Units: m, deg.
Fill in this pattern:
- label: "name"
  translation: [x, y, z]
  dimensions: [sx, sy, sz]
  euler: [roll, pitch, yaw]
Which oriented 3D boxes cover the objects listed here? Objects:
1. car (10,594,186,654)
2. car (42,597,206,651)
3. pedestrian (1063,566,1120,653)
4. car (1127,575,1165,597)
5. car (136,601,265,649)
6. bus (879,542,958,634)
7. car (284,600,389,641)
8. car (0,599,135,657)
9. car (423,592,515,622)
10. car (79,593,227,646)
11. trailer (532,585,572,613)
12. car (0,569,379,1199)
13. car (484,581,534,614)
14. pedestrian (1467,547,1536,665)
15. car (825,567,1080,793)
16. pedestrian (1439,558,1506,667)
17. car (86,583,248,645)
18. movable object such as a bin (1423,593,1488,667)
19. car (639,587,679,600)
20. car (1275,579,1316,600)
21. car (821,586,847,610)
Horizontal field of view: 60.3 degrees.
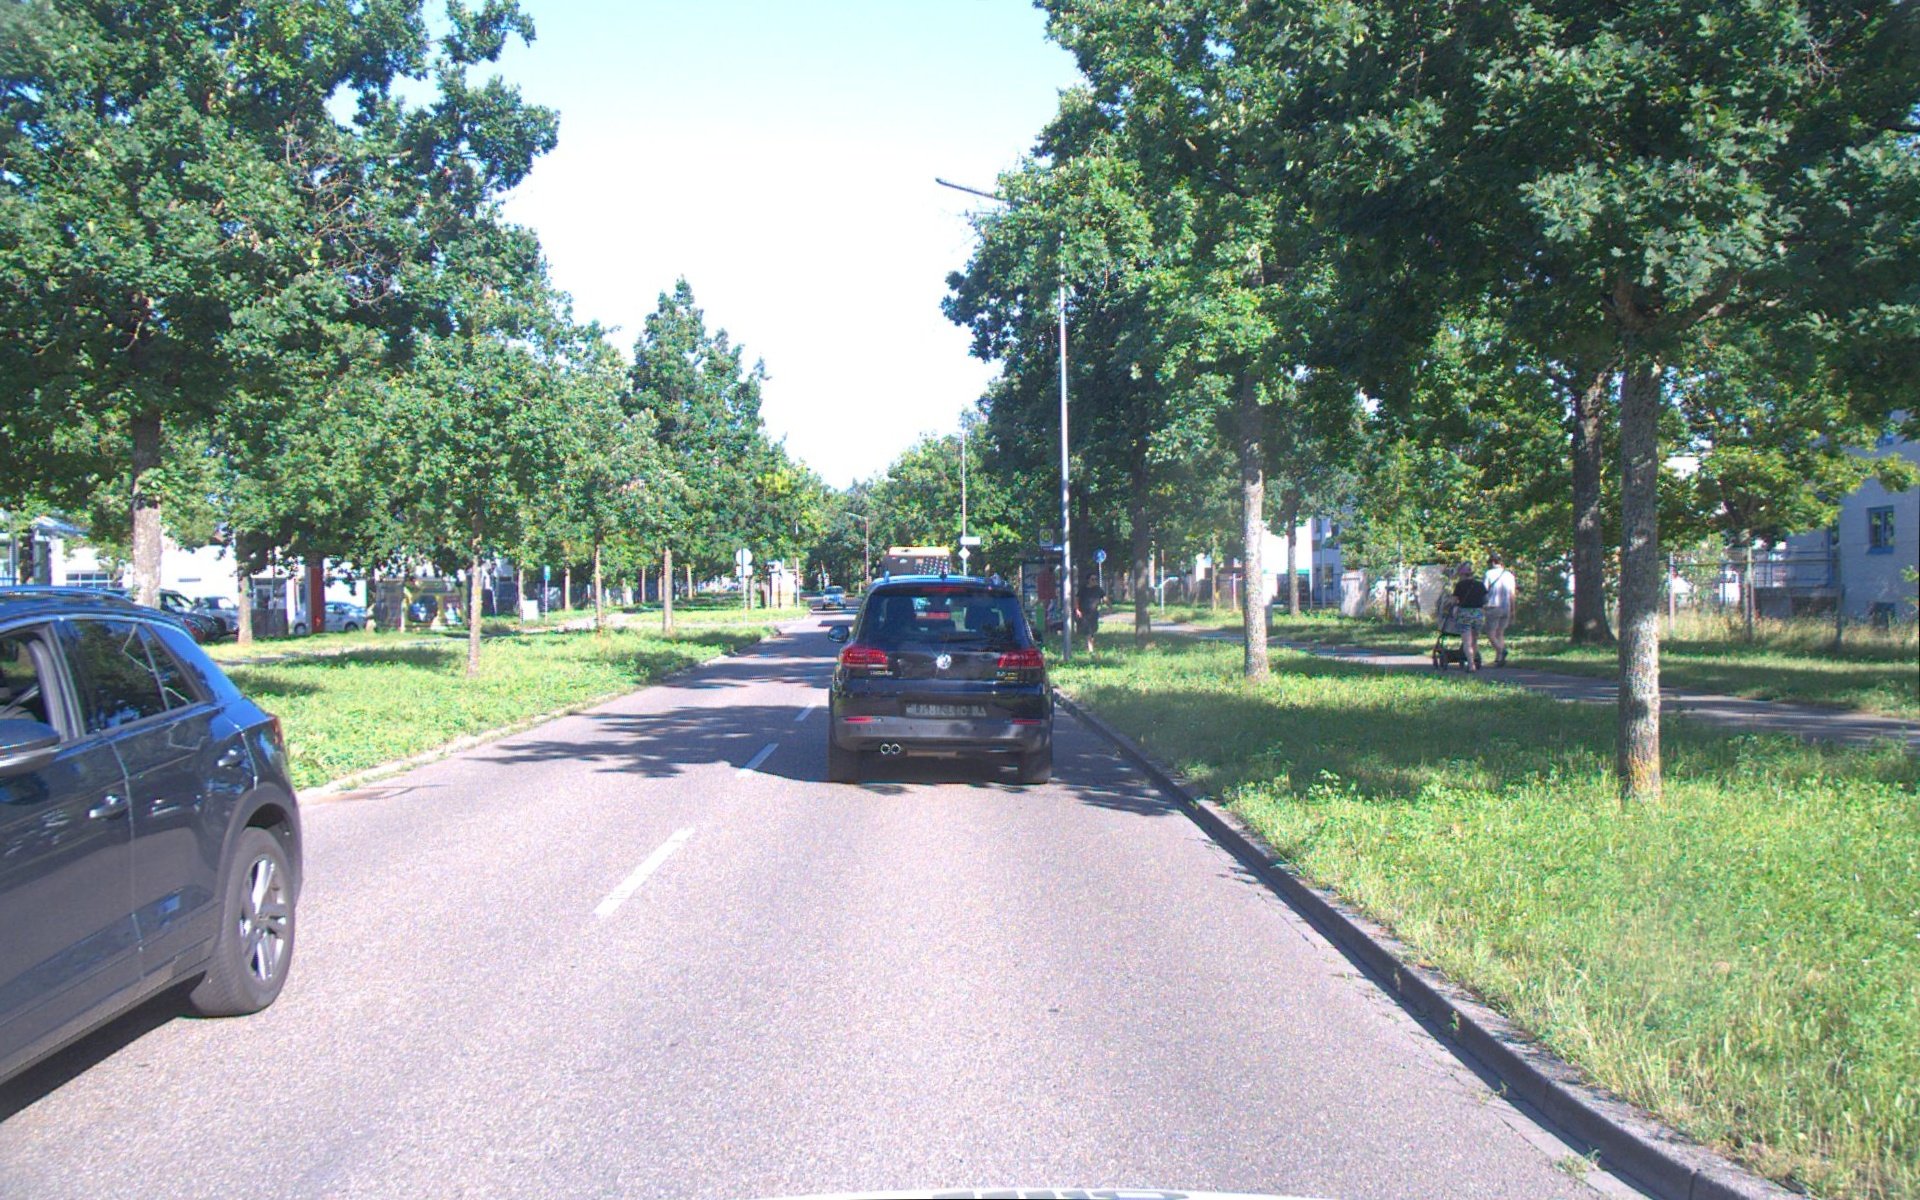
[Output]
- label: "car"
  translation: [-24.650, 0.662, 47.351]
  dimensions: [4.137, 1.565, 1.866]
  euler: [-2, 1, -43]
- label: "car"
  translation: [-25.518, 0.705, 50.548]
  dimensions: [4.132, 1.517, 1.971]
  euler: [-1, 1, -41]
- label: "pedestrian"
  translation: [2.610, 0.184, 33.059]
  dimensions: [0.999, 1.680, 1.099]
  euler: [-1, 0, -2]
- label: "car"
  translation: [15.409, -1.171, 137.501]
  dimensions: [2.142, 1.774, 4.635]
  euler: [-1, 1, -6]
- label: "car"
  translation: [-32.633, 1.077, 71.080]
  dimensions: [4.903, 1.939, 1.943]
  euler: [-1, 0, 14]
- label: "bus"
  translation: [-1.867, -0.528, 69.187]
  dimensions: [2.710, 3.517, 11.201]
  euler: [-1, 1, -4]
- label: "car"
  translation: [-26.339, 0.846, 69.960]
  dimensions: [3.662, 1.646, 1.965]
  euler: [-1, 0, 13]
- label: "car"
  translation: [-24.418, 0.728, 44.152]
  dimensions: [3.922, 1.426, 1.968]
  euler: [-2, 1, -43]
- label: "car"
  translation: [-26.908, 0.388, 90.649]
  dimensions: [4.406, 1.505, 1.942]
  euler: [-1, 0, 3]
- label: "car"
  translation: [-26.266, 0.611, 53.835]
  dimensions: [4.119, 1.589, 1.977]
  euler: [-1, 1, -34]
- label: "trailer"
  translation: [-29.333, -0.063, 118.986]
  dimensions: [2.060, 1.948, 3.738]
  euler: [-1, 1, -3]
- label: "car"
  translation: [-3.316, 0.730, 4.867]
  dimensions: [1.768, 1.563, 4.493]
  euler: [-2, 1, -3]
- label: "car"
  translation: [-28.781, -0.170, 105.620]
  dimensions: [1.996, 2.023, 5.801]
  euler: [-1, 0, -5]
- label: "pedestrian"
  translation: [8.536, 0.089, 26.118]
  dimensions: [0.711, 1.785, 0.867]
  euler: [-3, 0, -2]
- label: "car"
  translation: [-0.111, 0.570, 14.627]
  dimensions: [1.897, 1.685, 4.426]
  euler: [1, 1, -2]
- label: "pedestrian"
  translation: [7.792, 0.182, 25.193]
  dimensions: [0.711, 1.631, 0.867]
  euler: [-1, 0, -2]
- label: "car"
  translation: [-28.083, 0.480, 58.689]
  dimensions: [4.820, 2.049, 1.968]
  euler: [-2, 1, -44]
- label: "movable object such as a bin"
  translation: [7.803, 0.467, 26.069]
  dimensions: [0.711, 1.100, 0.867]
  euler: [-3, 0, -2]
- label: "car"
  translation: [-33.776, -0.705, 185.944]
  dimensions: [4.112, 1.344, 1.941]
  euler: [-1, 1, 0]
- label: "car"
  translation: [23.617, -0.774, 116.510]
  dimensions: [1.731, 1.408, 3.762]
  euler: [-1, 1, -7]
- label: "car"
  translation: [-8.606, -0.159, 112.715]
  dimensions: [1.710, 1.490, 4.422]
  euler: [-2, 1, -5]
